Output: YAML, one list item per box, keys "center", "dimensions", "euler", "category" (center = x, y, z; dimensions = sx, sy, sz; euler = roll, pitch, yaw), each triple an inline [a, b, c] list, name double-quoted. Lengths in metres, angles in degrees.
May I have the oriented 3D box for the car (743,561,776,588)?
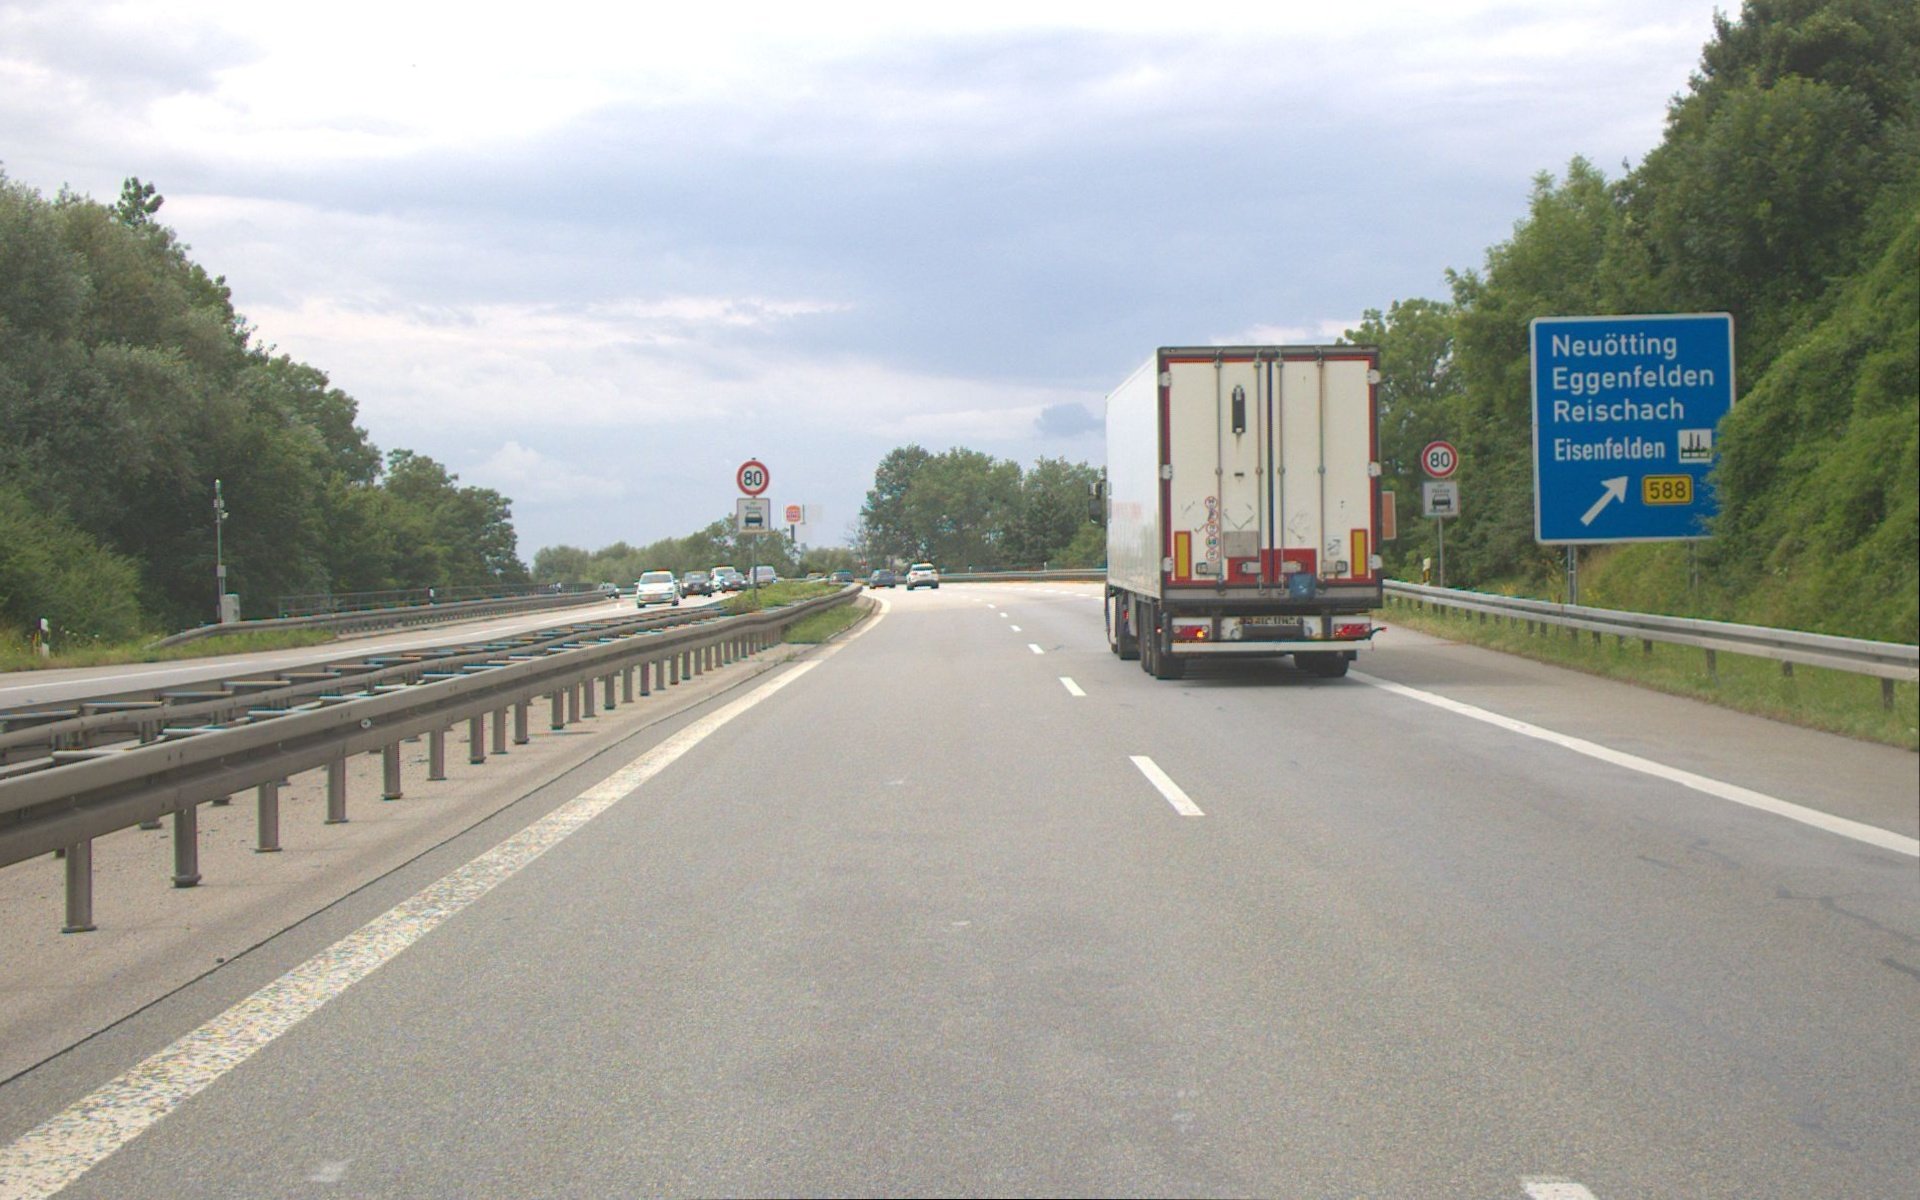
- center: [-12.235, -1.566, 209.816]
  dimensions: [1.725, 1.645, 4.223]
  euler: [0, 1, 0]
  category: "car"

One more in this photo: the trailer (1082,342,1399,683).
- center: [3.479, -1.104, 46.569]
  dimensions: [3.062, 3.877, 13.791]
  euler: [-1, 1, 0]
  category: "trailer"

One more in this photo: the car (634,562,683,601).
- center: [-12.768, -0.801, 145.546]
  dimensions: [1.650, 1.487, 4.283]
  euler: [-2, 1, 0]
  category: "car"

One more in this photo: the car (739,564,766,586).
- center: [-15.471, -1.848, 256.599]
  dimensions: [1.845, 1.606, 4.947]
  euler: [0, 1, -1]
  category: "car"

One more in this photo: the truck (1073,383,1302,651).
- center: [3.478, -1.272, 54.086]
  dimensions: [3.062, 3.878, 6.000]
  euler: [-2, 1, 0]
  category: "truck"

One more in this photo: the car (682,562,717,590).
- center: [-15.696, -1.464, 207.435]
  dimensions: [1.729, 1.554, 4.331]
  euler: [-3, 1, 0]
  category: "car"

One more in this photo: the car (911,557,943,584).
- center: [-2.132, -1.914, 223.951]
  dimensions: [1.902, 1.634, 4.396]
  euler: [-2, 0, -2]
  category: "car"
